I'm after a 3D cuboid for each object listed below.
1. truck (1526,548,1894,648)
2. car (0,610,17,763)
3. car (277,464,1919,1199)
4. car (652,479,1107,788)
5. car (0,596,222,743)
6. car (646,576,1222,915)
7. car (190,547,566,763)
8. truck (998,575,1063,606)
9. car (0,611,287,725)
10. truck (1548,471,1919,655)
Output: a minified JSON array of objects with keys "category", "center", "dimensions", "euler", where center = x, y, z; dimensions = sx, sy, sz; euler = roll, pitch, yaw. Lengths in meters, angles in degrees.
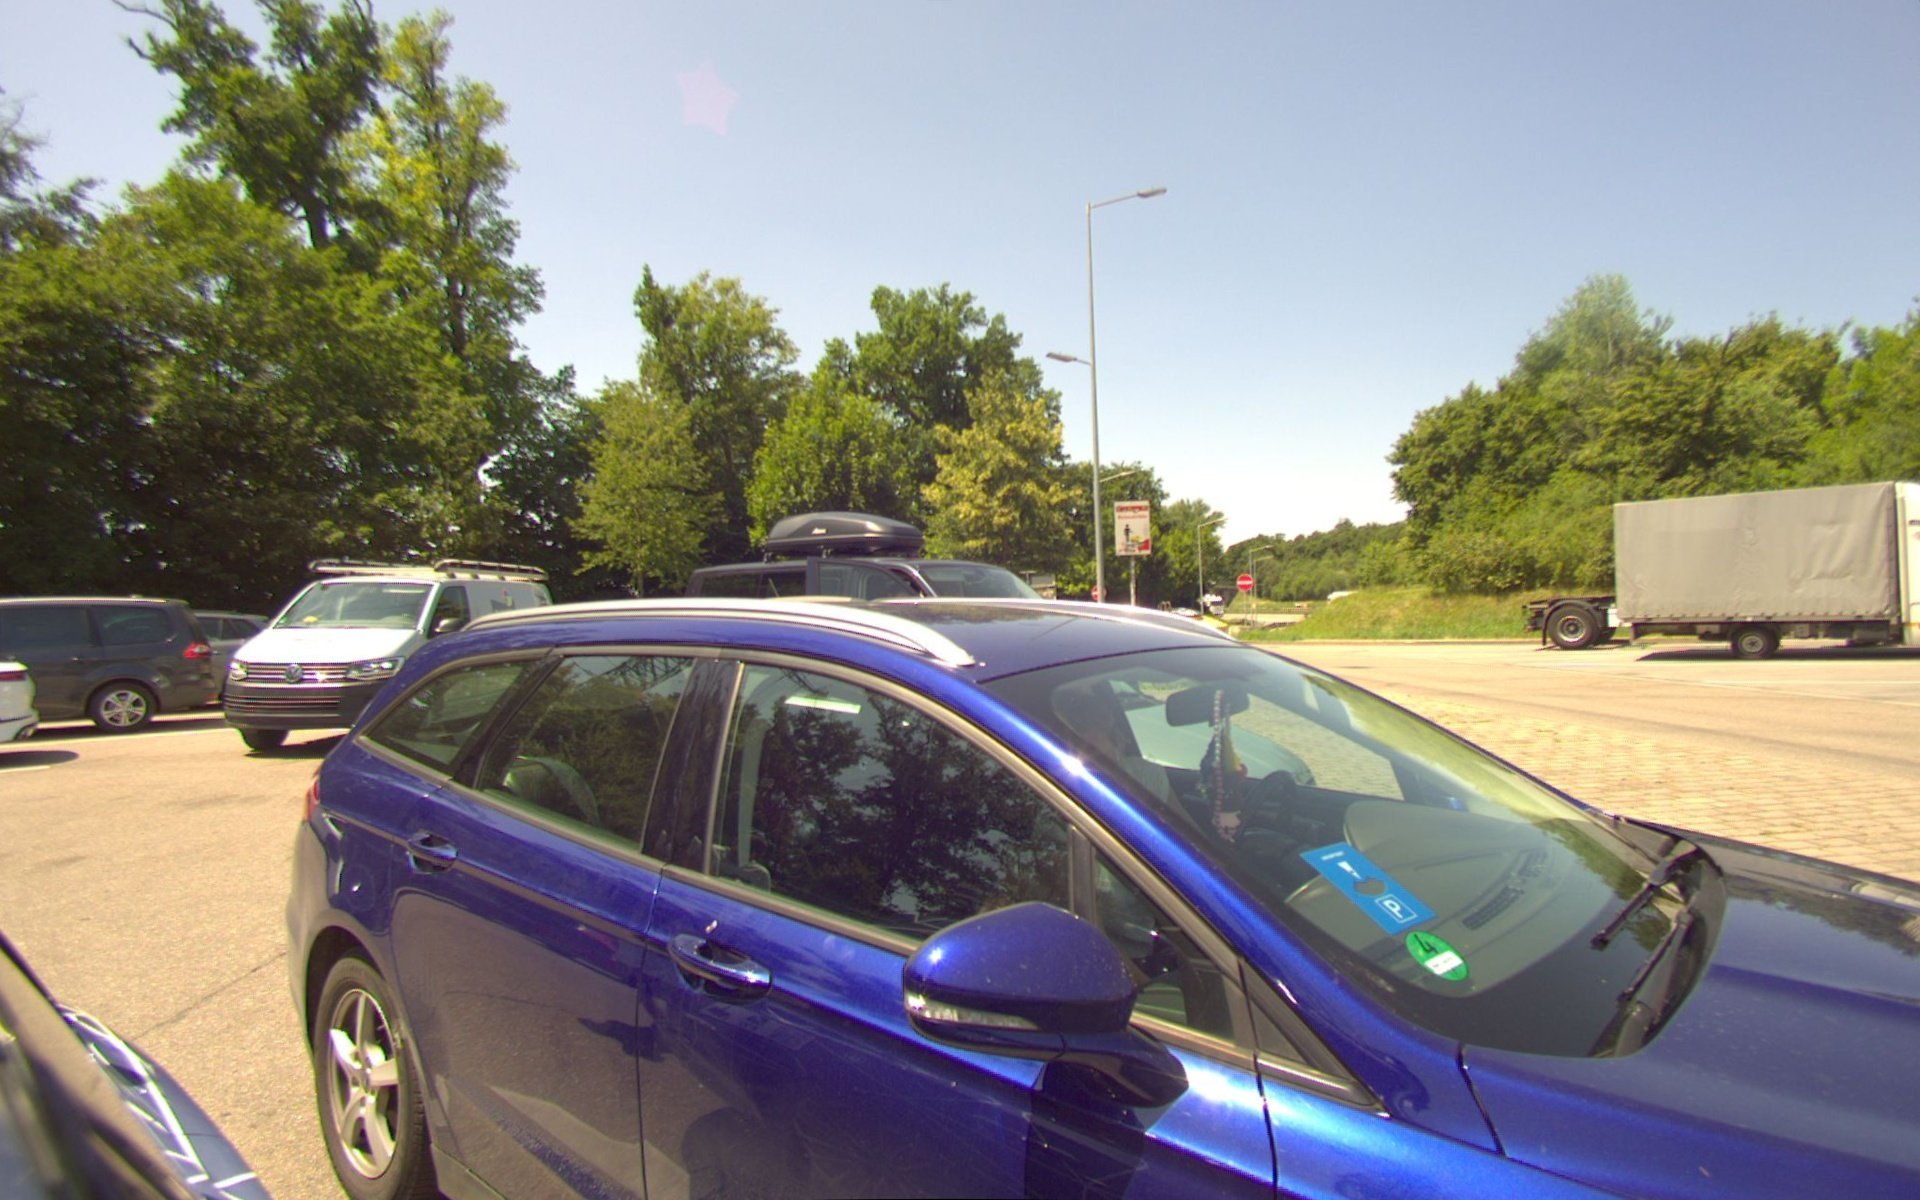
[{"category":"truck","center":[17.102,0.046,23.504],"dimensions":[6.613,2.029,1.973],"euler":[-2,-1,41]},{"category":"car","center":[-11.119,0.877,9.161],"dimensions":[1.848,1.465,3.722],"euler":[-3,-1,45]},{"category":"car","center":[0.261,0.654,2.102],"dimensions":[4.411,1.429,1.721],"euler":[-2,-1,41]},{"category":"car","center":[-0.867,0.313,9.567],"dimensions":[4.076,2.336,1.767],"euler":[-2,-1,35]},{"category":"car","center":[-11.668,0.827,12.593],"dimensions":[1.755,1.701,3.798],"euler":[-2,-1,45]},{"category":"car","center":[-0.299,0.624,5.622],"dimensions":[3.112,1.370,1.326],"euler":[-2,-1,41]},{"category":"car","center":[-6.792,0.591,12.712],"dimensions":[1.817,2.121,5.437],"euler":[0,-1,-3]},{"category":"truck","center":[3.405,-0.450,48.713],"dimensions":[2.866,1.386,1.158],"euler":[-2,-1,22]},{"category":"car","center":[-12.624,0.959,15.612],"dimensions":[3.535,1.513,1.708],"euler":[-1,0,-42]},{"category":"truck","center":[15.766,-0.584,19.574],"dimensions":[7.253,3.175,2.148],"euler":[-2,-1,41]}]
